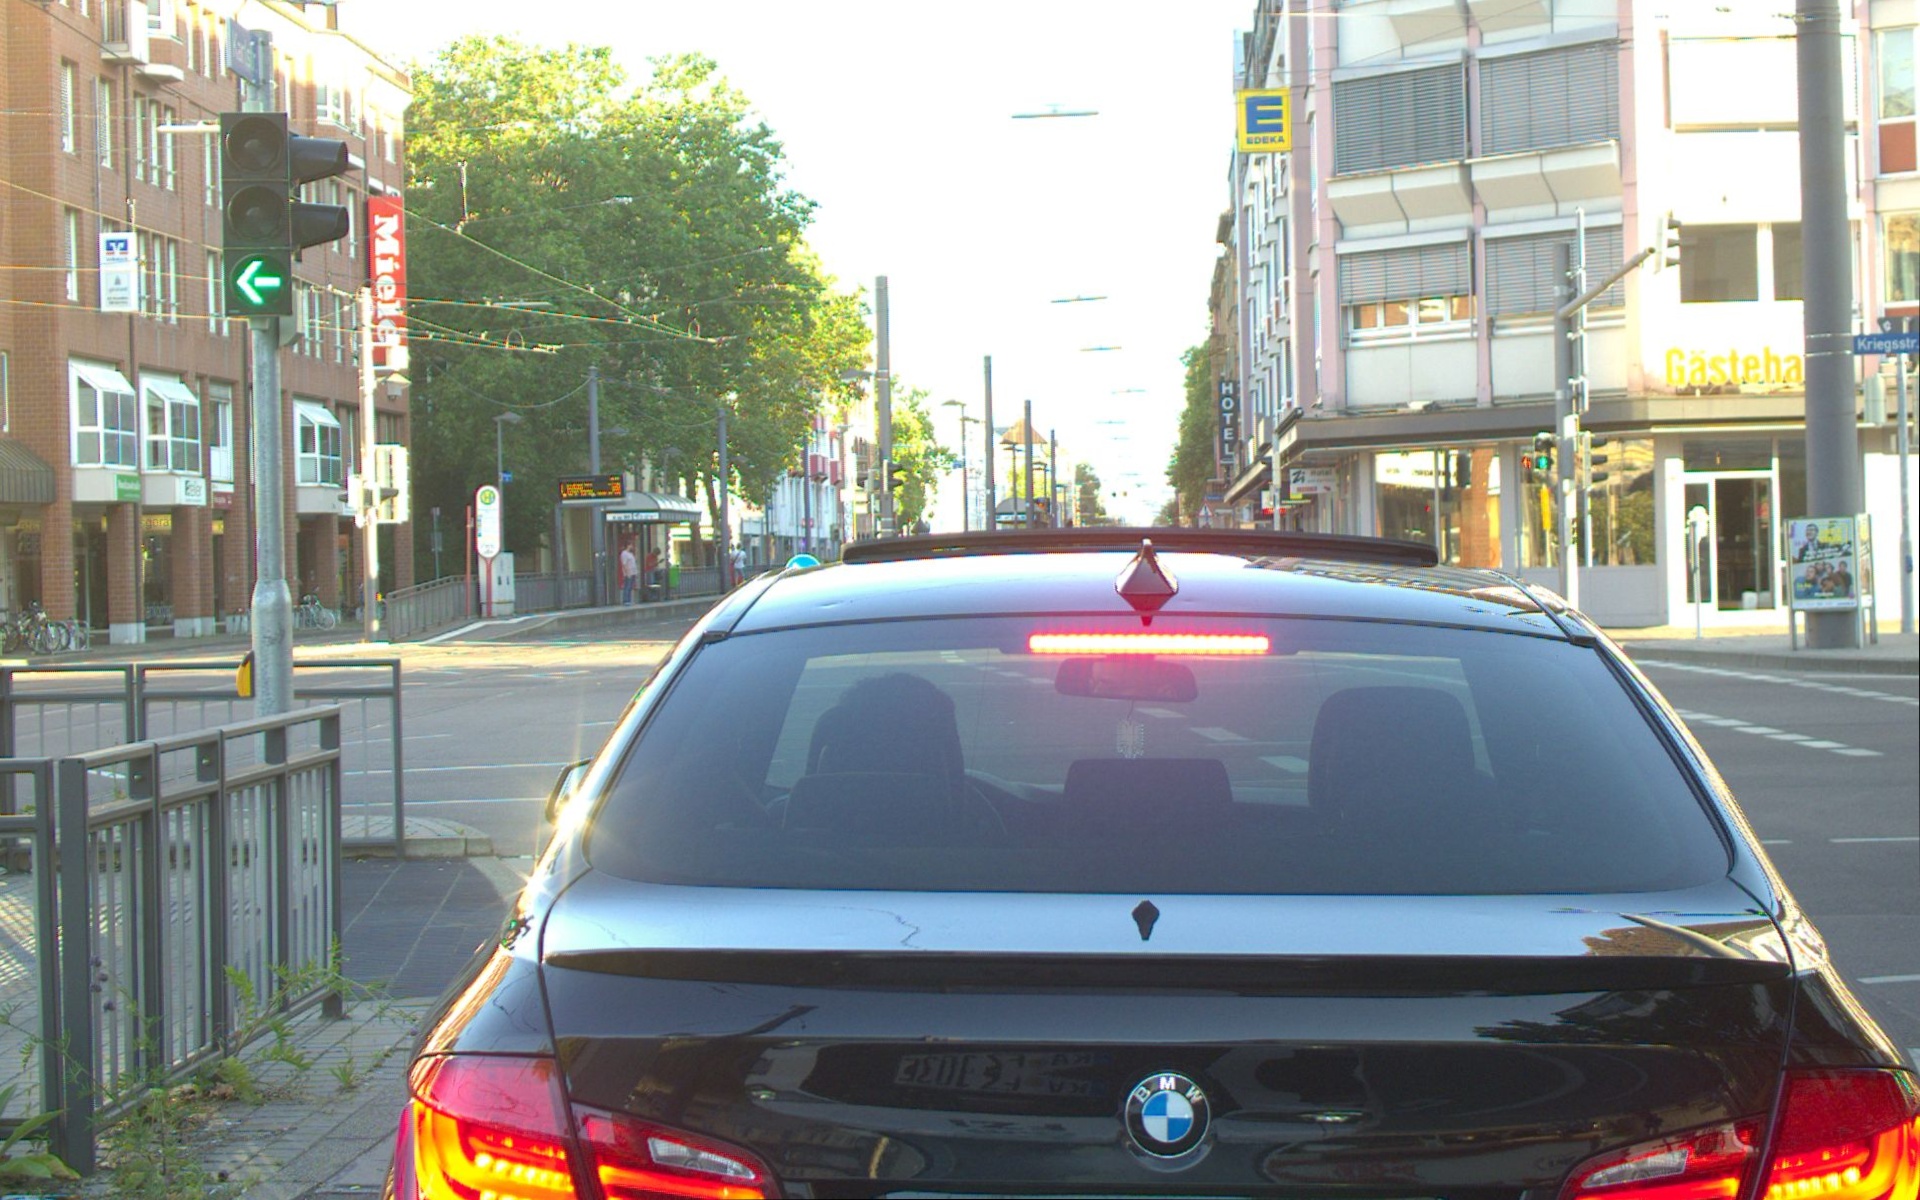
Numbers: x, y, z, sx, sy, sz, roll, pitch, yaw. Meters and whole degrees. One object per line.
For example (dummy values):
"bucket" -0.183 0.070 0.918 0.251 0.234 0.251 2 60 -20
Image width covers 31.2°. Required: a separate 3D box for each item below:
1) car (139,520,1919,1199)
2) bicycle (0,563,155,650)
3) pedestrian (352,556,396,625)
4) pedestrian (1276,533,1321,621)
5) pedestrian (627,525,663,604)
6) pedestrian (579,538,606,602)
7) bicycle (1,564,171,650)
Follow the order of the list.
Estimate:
"car" 0.179 0.655 5.146 1.841 1.490 4.292 1 1 -1
"bicycle" -18.598 0.139 71.743 3.297 1.720 1.069 -1 1 3
"pedestrian" -17.319 -0.282 101.569 1.085 2.007 1.085 -1 1 -1
"pedestrian" 6.150 -0.427 62.516 0.705 1.543 0.907 0 4 -1
"pedestrian" -8.160 -0.925 89.046 0.808 2.007 0.678 -2 1 0
"pedestrian" -9.545 -0.780 89.359 0.584 1.651 0.678 -2 1 0
"bicycle" -18.527 0.147 72.911 3.297 1.720 1.069 -1 1 2
